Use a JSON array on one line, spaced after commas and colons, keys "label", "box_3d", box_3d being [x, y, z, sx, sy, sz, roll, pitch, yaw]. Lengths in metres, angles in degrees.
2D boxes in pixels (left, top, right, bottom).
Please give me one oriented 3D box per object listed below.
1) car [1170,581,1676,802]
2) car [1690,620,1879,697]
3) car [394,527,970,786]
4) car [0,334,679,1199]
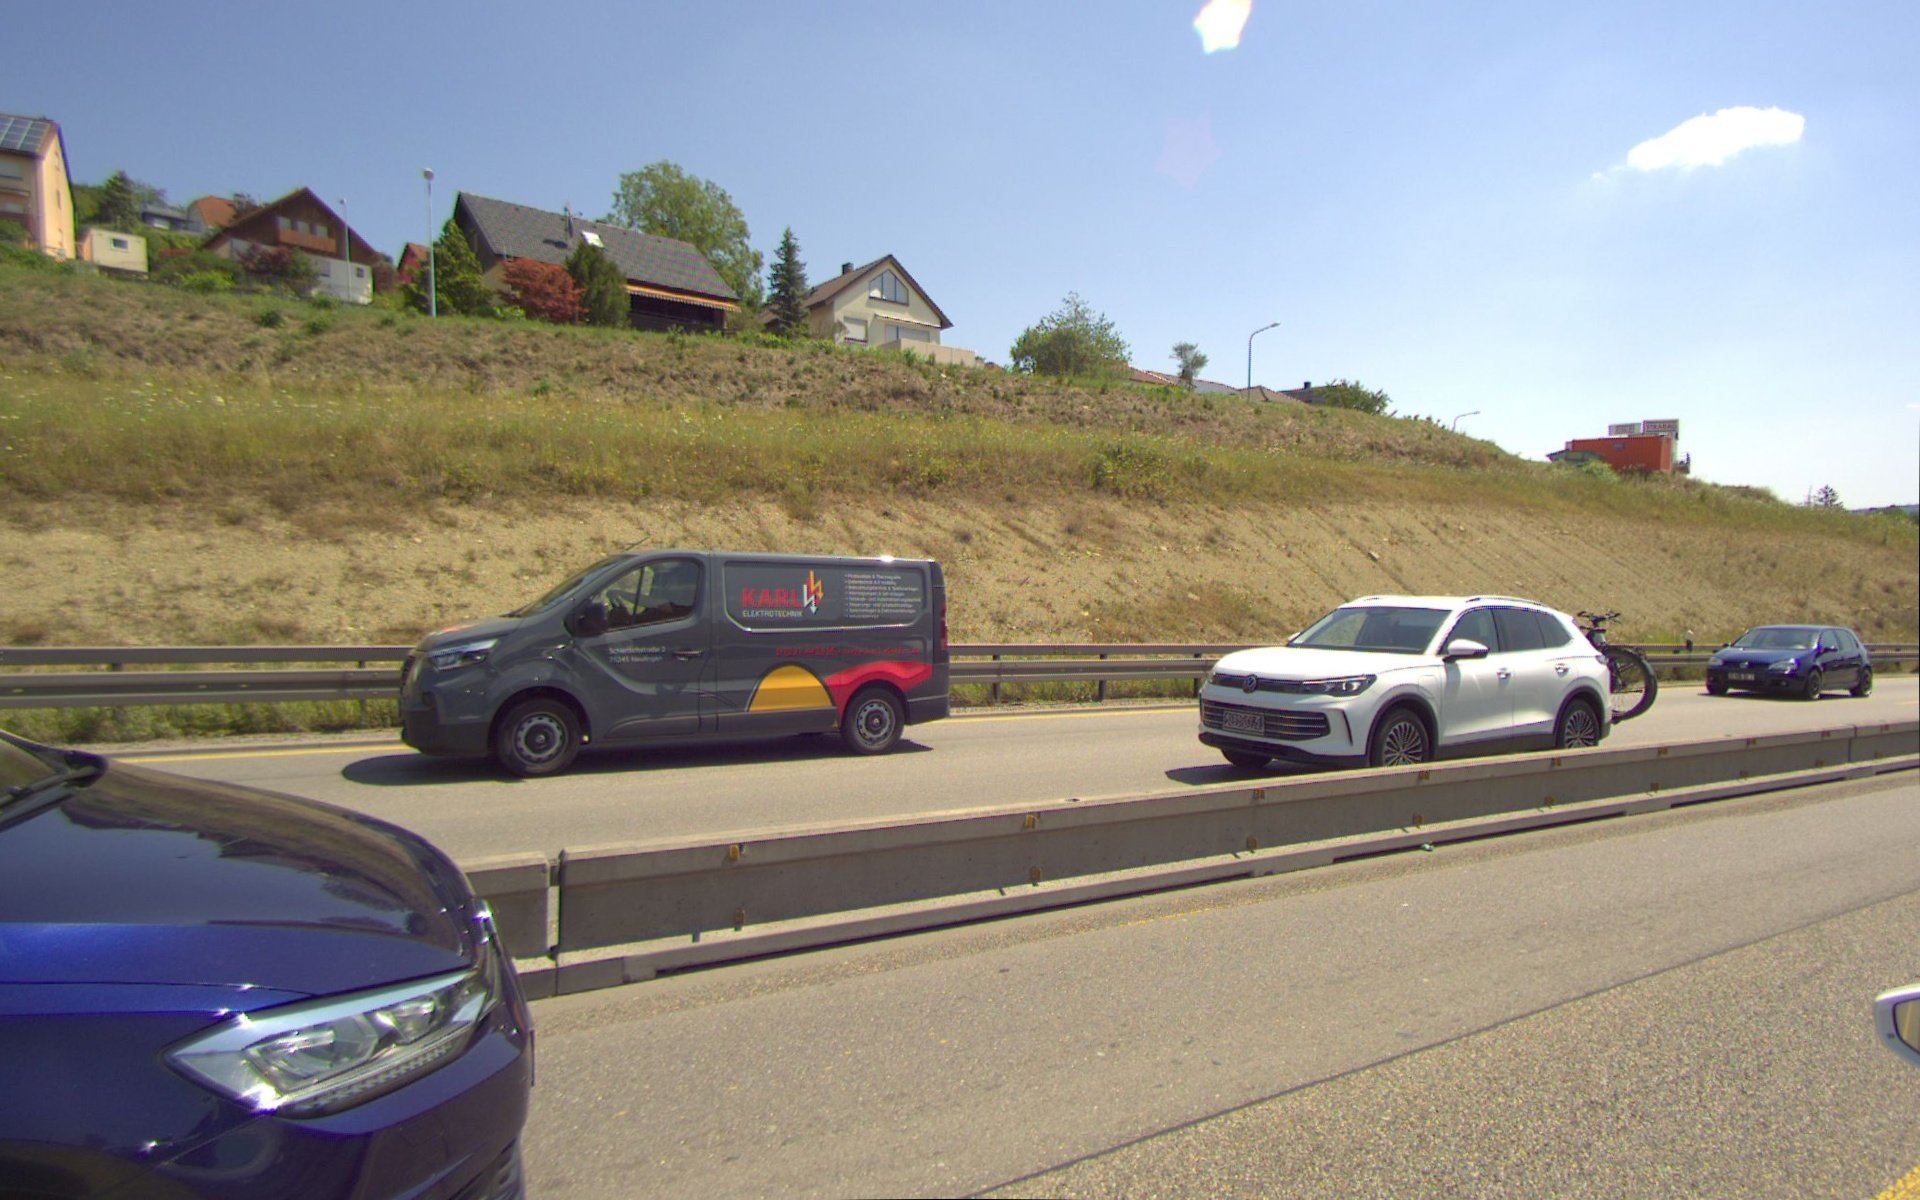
[{"label": "car", "box_3d": [4.664, 0.739, 9.794, 5.309, 1.676, 1.830, 1, -1, -31]}, {"label": "car", "box_3d": [17.238, 1.161, 20.959, 4.193, 1.437, 1.702, 1, 0, -30]}, {"label": "car", "box_3d": [-2.574, 0.477, 9.767, 5.063, 1.952, 2.028, 1, -1, -31]}, {"label": "car", "box_3d": [-2.898, 0.519, 1.326, 4.597, 1.741, 1.767, 0, 1, -30]}]
